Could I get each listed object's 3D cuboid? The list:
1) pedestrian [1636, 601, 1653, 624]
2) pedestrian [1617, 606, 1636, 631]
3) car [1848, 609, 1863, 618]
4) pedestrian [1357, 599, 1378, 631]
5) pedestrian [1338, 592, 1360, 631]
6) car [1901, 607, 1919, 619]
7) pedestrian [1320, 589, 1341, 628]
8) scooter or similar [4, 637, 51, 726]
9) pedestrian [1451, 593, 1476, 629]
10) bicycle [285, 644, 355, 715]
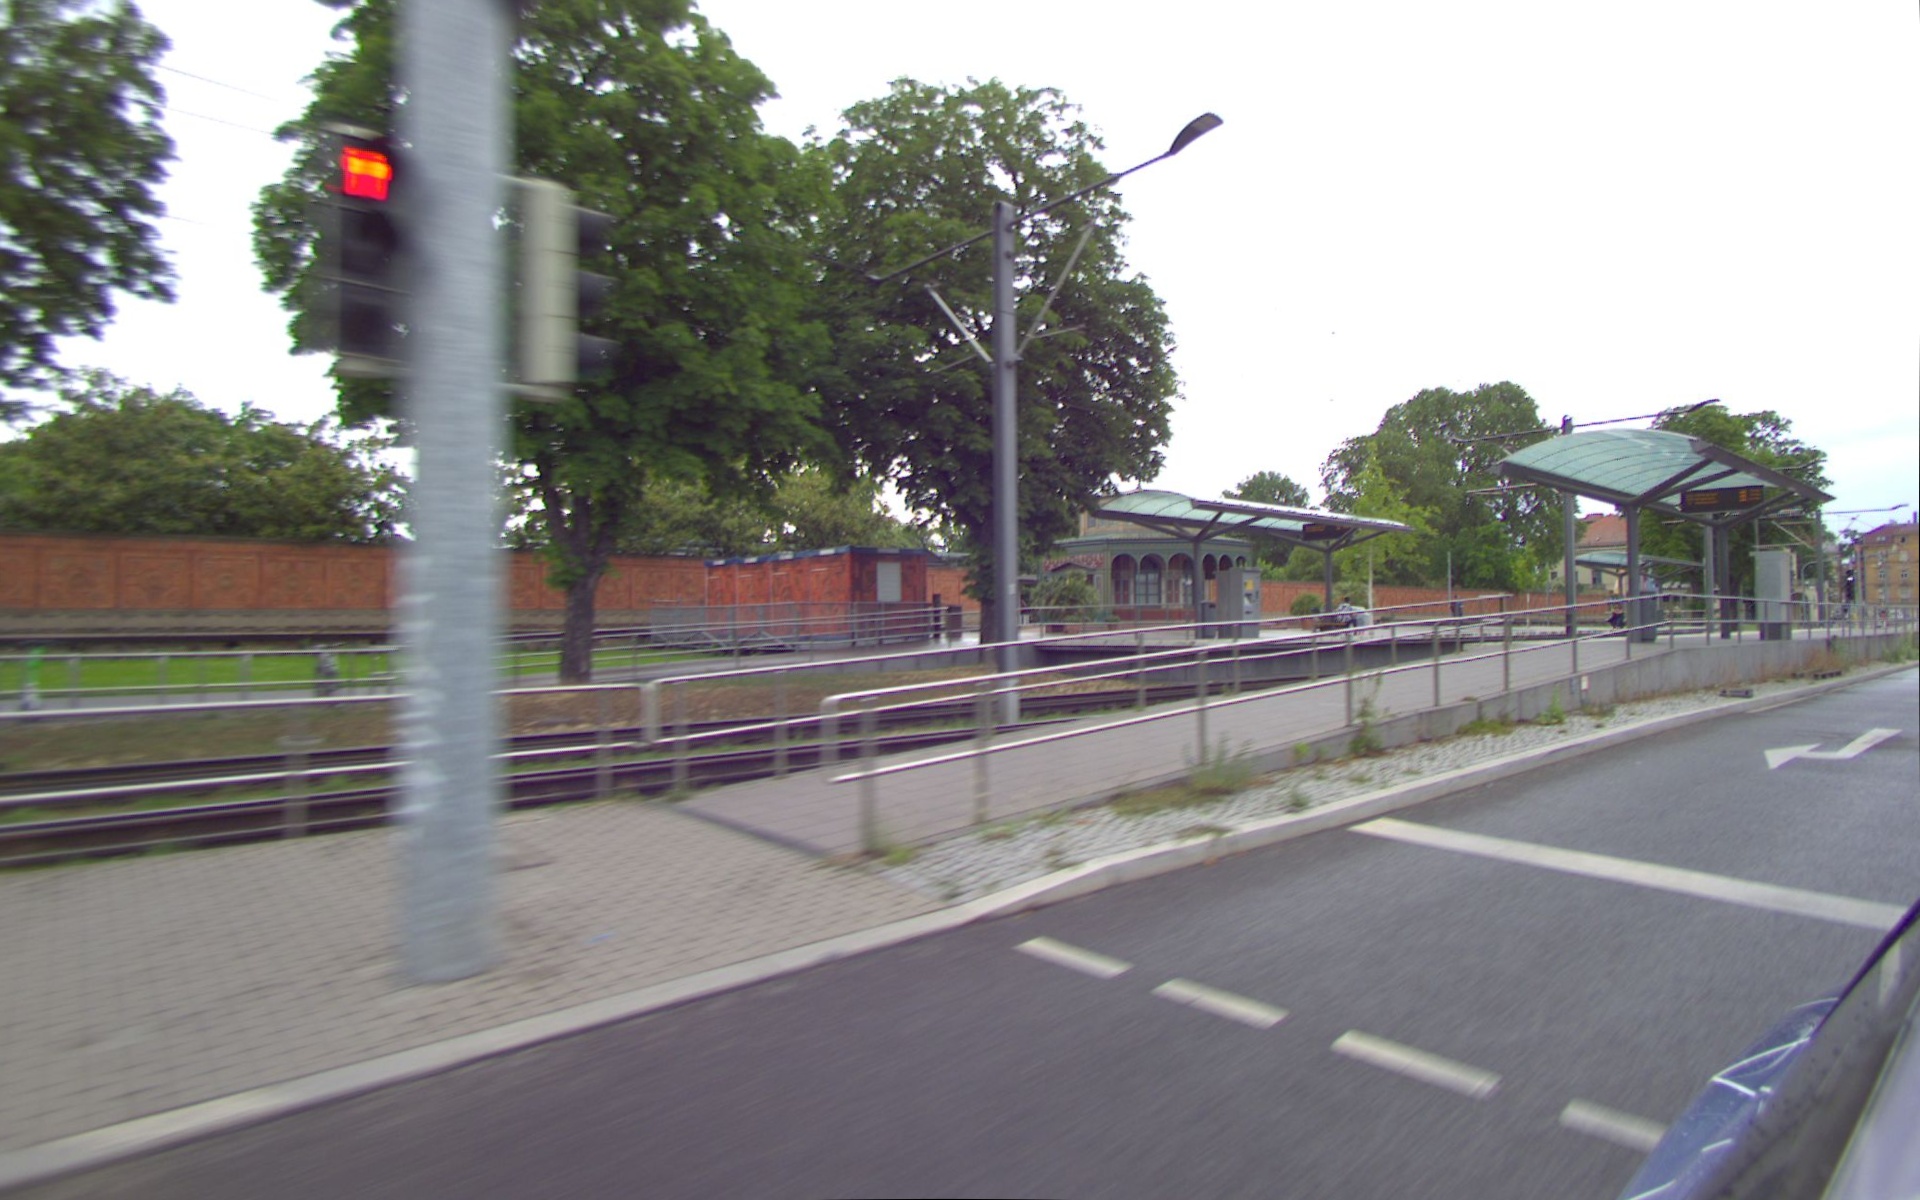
[{"bbox_3d":[34.603,0.646,51.143,0.597,1.134,0.514,-7,-5,33],"label":"pedestrian"},{"bbox_3d":[33.674,0.945,51.136,0.770,1.229,0.518,0,-6,-45],"label":"pedestrian"},{"bbox_3d":[158.873,2.423,179.573,1.825,1.603,3.938,-2,-1,43],"label":"car"},{"bbox_3d":[13.081,0.478,32.490,0.541,1.022,0.438,1,-1,-40],"label":"pedestrian"},{"bbox_3d":[12.292,0.365,31.964,0.541,1.242,0.438,1,-1,-40],"label":"pedestrian"},{"bbox_3d":[151.010,2.051,160.827,1.838,1.661,4.077,-7,-5,44],"label":"car"},{"bbox_3d":[11.819,0.273,32.274,0.541,1.242,0.438,1,-1,-40],"label":"pedestrian"},{"bbox_3d":[-13.052,1.109,14.183,0.424,1.151,1.545,1,-1,-41],"label":"scooter or similar"},{"bbox_3d":[25.100,0.550,50.476,1.161,1.813,0.722,1,-1,-40],"label":"pedestrian"},{"bbox_3d":[-10.187,1.225,16.074,0.560,0.969,2.325,1,-1,-41],"label":"bicycle"}]
